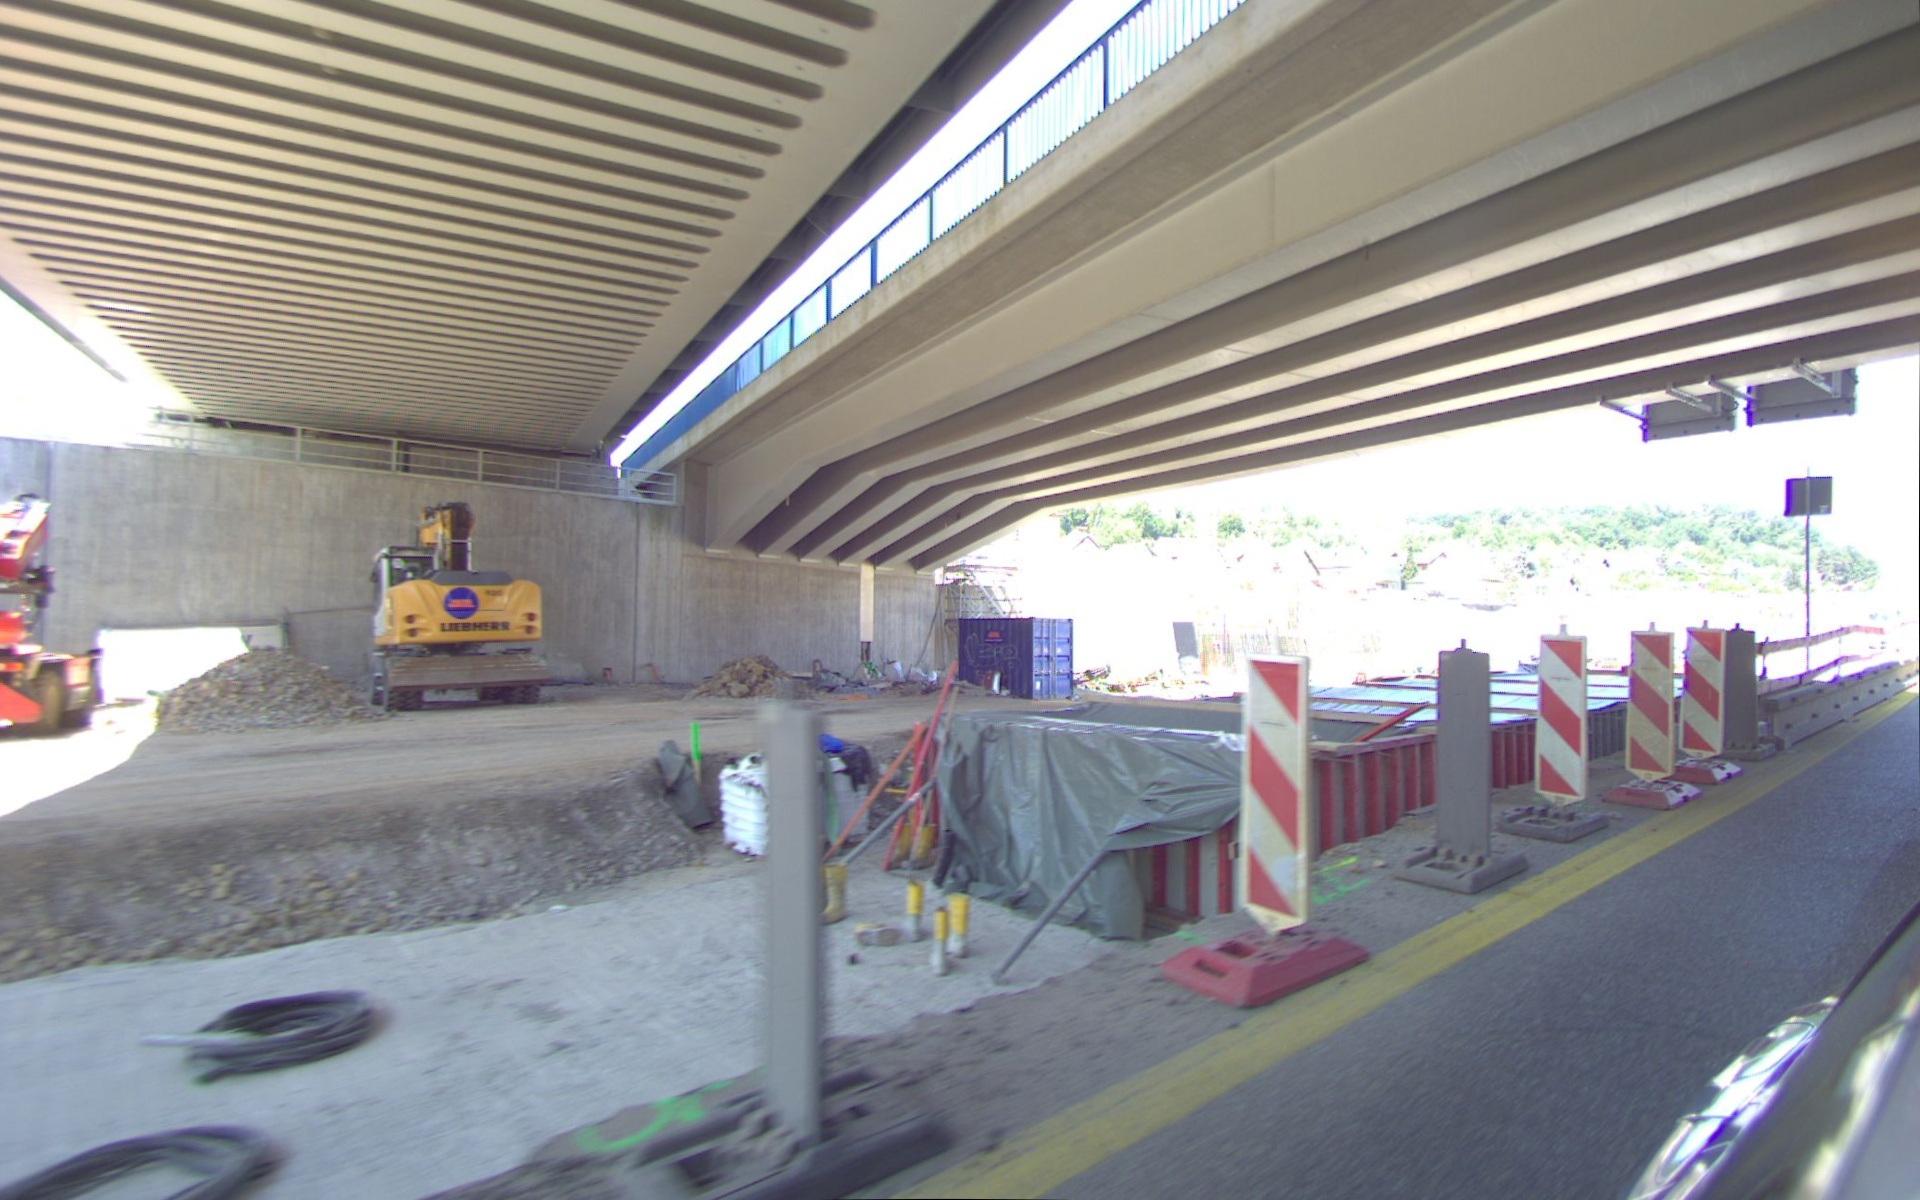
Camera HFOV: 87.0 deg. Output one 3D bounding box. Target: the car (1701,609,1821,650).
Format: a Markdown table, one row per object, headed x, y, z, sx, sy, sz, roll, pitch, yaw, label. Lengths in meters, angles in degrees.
| x | y | z | sx | sy | sz | roll | pitch | yaw | label |
| --- | --- | --- | --- | --- | --- | --- | --- | --- | --- |
| 55.151 | 2.068 | 69.892 | 6.267 | 2.615 | 2.028 | -4 | -4 | 36 | car |

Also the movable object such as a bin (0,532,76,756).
| x | y | z | sx | sy | sz | roll | pitch | yaw | label |
| --- | --- | --- | --- | --- | --- | --- | --- | --- | --- |
| -15.544 | 0.703 | 15.555 | 2.450 | 3.095 | 5.253 | -2 | -1 | -36 | movable object such as a bin |

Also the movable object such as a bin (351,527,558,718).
| x | y | z | sx | sy | sz | roll | pitch | yaw | label |
| --- | --- | --- | --- | --- | --- | --- | --- | --- | --- |
| -10.271 | 0.410 | 20.371 | 2.935 | 3.329 | 4.565 | -2 | -1 | -37 | movable object such as a bin |

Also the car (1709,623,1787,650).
| x | y | z | sx | sy | sz | roll | pitch | yaw | label |
| --- | --- | --- | --- | --- | --- | --- | --- | --- | --- |
| 52.484 | 2.417 | 67.453 | 3.859 | 1.707 | 1.666 | -3 | -2 | 45 | car |

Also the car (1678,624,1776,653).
| x | y | z | sx | sy | sz | roll | pitch | yaw | label |
| --- | --- | --- | --- | --- | --- | --- | --- | --- | --- |
| 49.729 | 2.475 | 65.718 | 1.689 | 1.792 | 4.797 | 0 | -2 | -40 | car |

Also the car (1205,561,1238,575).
| x | y | z | sx | sy | sz | roll | pitch | yaw | label |
| --- | --- | --- | --- | --- | --- | --- | --- | --- | --- |
| 30.992 | -3.805 | 120.058 | 4.142 | 1.504 | 1.727 | -2 | 1 | -41 | car |

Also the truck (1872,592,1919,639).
| x | y | z | sx | sy | sz | roll | pitch | yaw | label |
| --- | --- | --- | --- | --- | --- | --- | --- | --- | --- |
| 75.040 | 1.184 | 80.887 | 5.342 | 3.447 | 2.502 | -2 | 1 | -41 | truck |

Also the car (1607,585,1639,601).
| x | y | z | sx | sy | sz | roll | pitch | yaw | label |
| --- | --- | --- | --- | --- | --- | --- | --- | --- | --- |
| 68.607 | -0.734 | 104.712 | 4.528 | 1.623 | 1.656 | -2 | 1 | -42 | car |

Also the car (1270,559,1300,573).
| x | y | z | sx | sy | sz | roll | pitch | yaw | label |
| --- | --- | --- | --- | --- | --- | --- | --- | --- | --- |
| 36.180 | -3.791 | 112.643 | 3.544 | 1.504 | 1.544 | -2 | 1 | -41 | car |
